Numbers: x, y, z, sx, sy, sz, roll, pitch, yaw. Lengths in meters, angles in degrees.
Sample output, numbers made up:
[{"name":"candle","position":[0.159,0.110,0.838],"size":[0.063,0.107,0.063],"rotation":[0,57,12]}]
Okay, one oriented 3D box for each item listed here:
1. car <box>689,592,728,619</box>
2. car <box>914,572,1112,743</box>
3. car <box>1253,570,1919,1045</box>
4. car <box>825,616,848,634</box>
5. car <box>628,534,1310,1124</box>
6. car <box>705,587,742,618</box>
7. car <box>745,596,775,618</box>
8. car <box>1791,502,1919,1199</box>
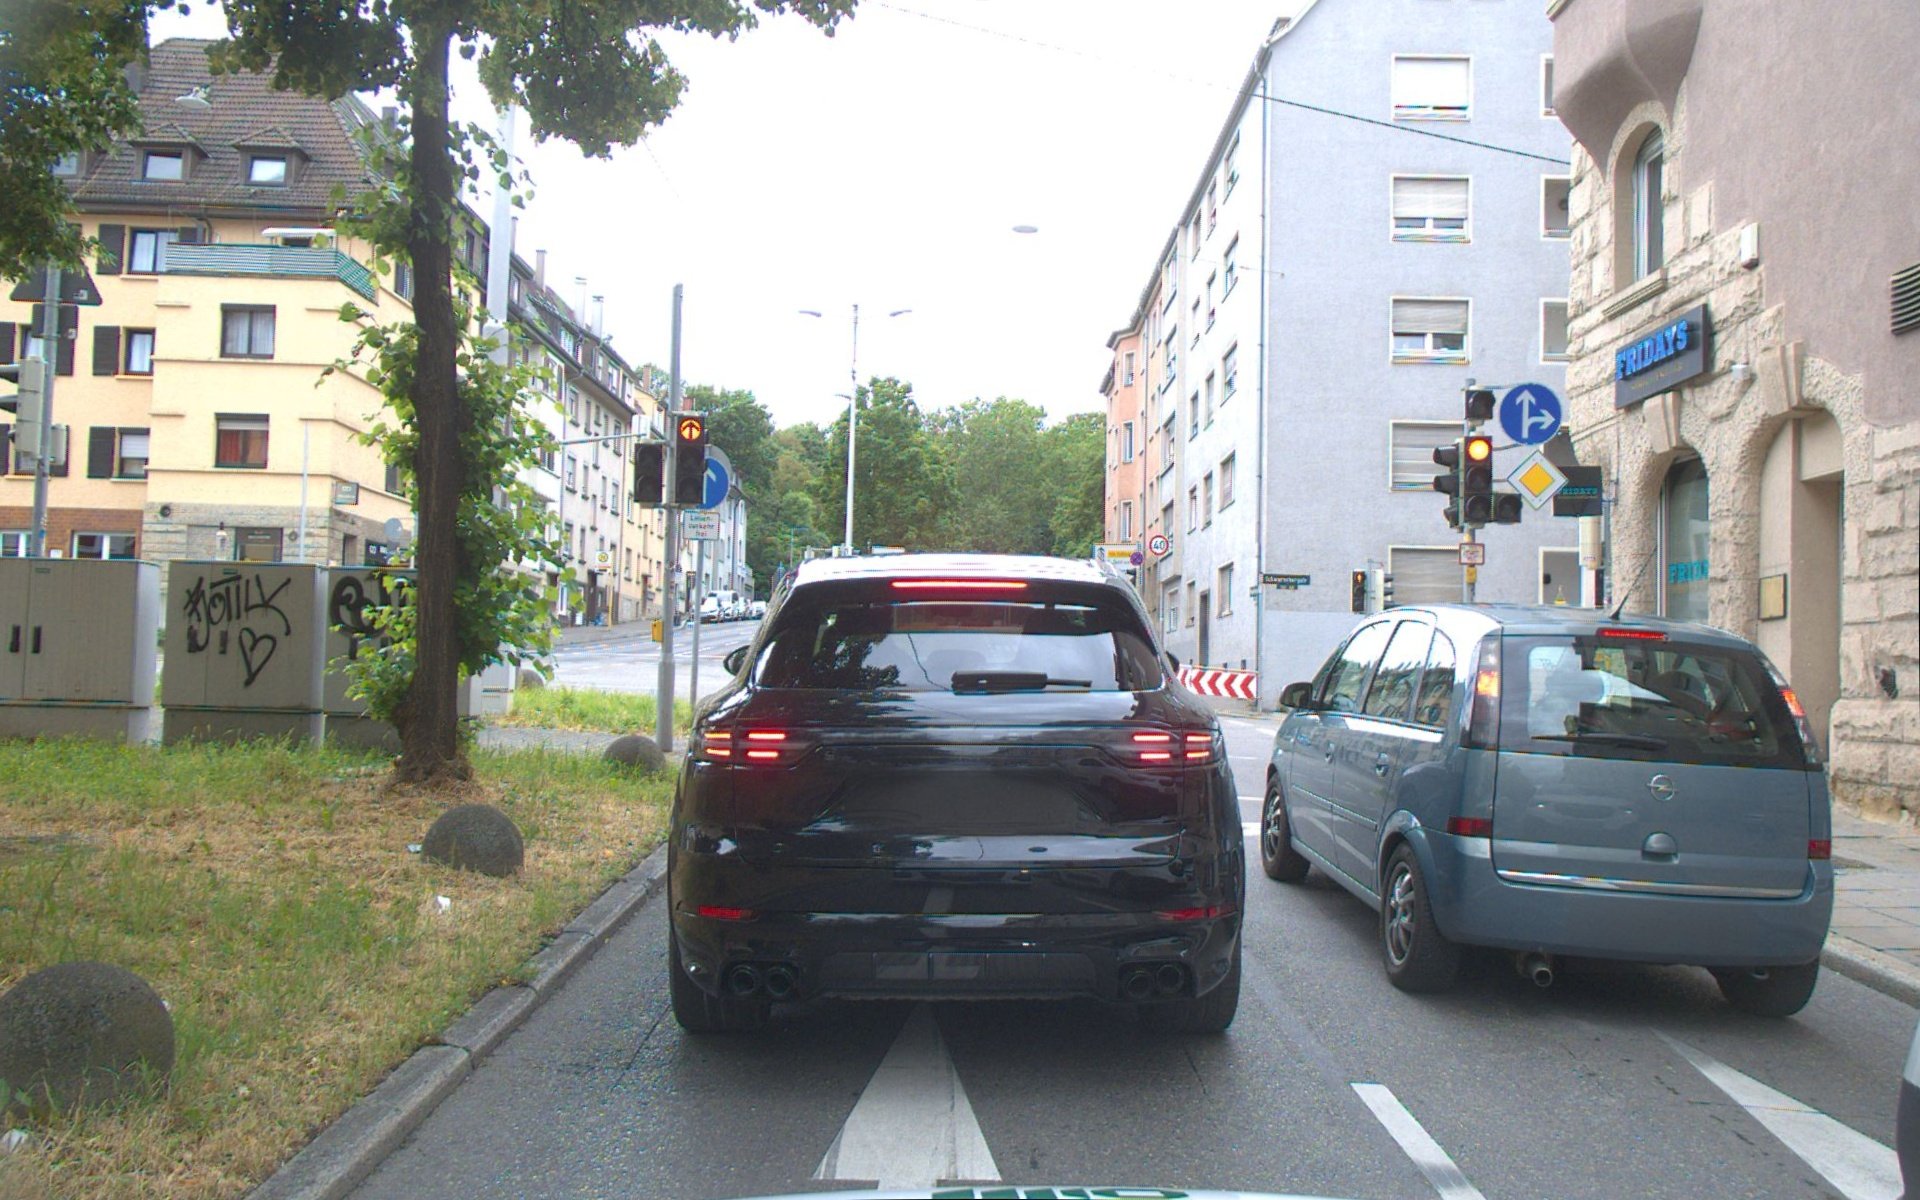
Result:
[{"name":"car","position":[-14.934,0.335,98.363],"size":[1.758,1.536,3.999],"rotation":[1,0,-1]},{"name":"car","position":[0.564,0.590,18.401],"size":[1.953,1.682,4.000],"rotation":[0,-1,1]},{"name":"car","position":[2.675,0.768,7.893],"size":[1.717,1.621,3.629],"rotation":[4,0,-2]},{"name":"car","position":[-10.941,2.231,146.731],"size":[1.758,1.537,3.998],"rotation":[1,-2,-1]},{"name":"car","position":[0.058,0.637,6.763],"size":[1.953,1.681,4.001],"rotation":[0,1,1]},{"name":"car","position":[-14.750,0.146,103.390],"size":[1.758,1.841,3.999],"rotation":[1,0,-1]},{"name":"car","position":[-15.066,0.515,124.770],"size":[1.758,1.536,3.999],"rotation":[1,0,-1]},{"name":"car","position":[2.800,0.702,1.531],"size":[1.811,1.857,5.022],"rotation":[2,-1,4]}]
